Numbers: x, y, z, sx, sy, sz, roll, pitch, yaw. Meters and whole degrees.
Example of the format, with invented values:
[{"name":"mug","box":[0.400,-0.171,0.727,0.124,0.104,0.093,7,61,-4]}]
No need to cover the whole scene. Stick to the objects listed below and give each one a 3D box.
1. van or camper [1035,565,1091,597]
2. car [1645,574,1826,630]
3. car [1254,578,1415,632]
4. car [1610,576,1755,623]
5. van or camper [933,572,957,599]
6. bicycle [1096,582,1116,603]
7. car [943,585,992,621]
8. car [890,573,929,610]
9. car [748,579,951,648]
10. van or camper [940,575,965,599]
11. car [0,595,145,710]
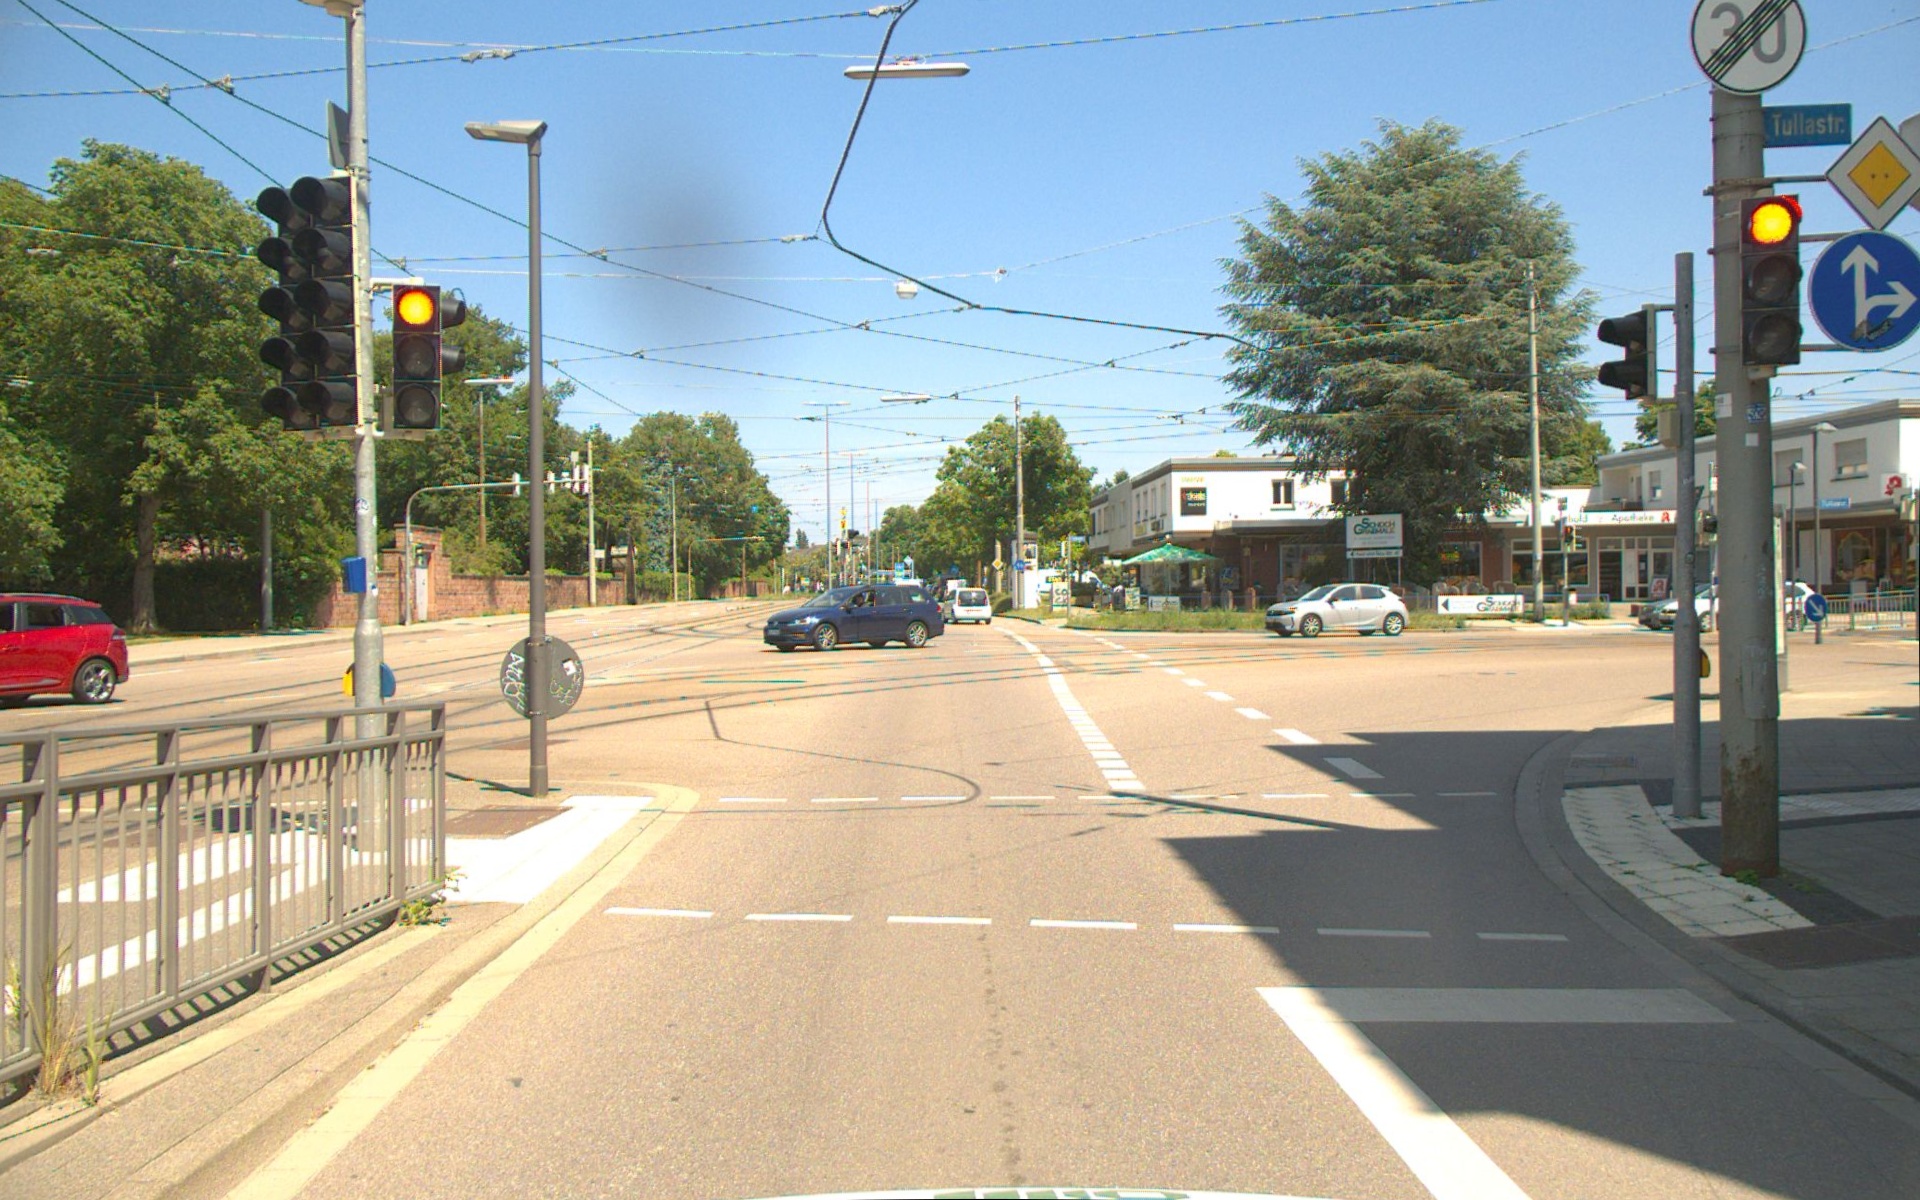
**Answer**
[{"name":"van or camper","box":[8.922,-1.648,143.537,4.662,2.717,2.134,-1,0,-3]},{"name":"car","box":[22.332,0.040,47.724,4.394,1.516,1.823,-1,0,-3]},{"name":"car","box":[10.319,0.115,45.603,3.974,1.386,1.815,-1,0,-17]},{"name":"car","box":[22.158,-0.022,50.812,3.752,1.375,1.641,-1,0,-3]},{"name":"van or camper","box":[-1.399,-1.347,152.823,1.954,2.507,3.997,-1,0,-4]},{"name":"bicycle","box":[7.478,-0.388,84.599,1.012,1.032,2.639,-1,1,5]},{"name":"car","box":[0.272,0.098,69.030,1.638,1.460,3.469,-1,0,-7]},{"name":"car","box":[-2.721,-0.479,88.299,1.954,1.892,3.998,0,1,-3]},{"name":"car","box":[-2.515,0.283,38.156,4.430,1.467,1.838,-1,1,-37]},{"name":"van or camper","box":[-0.581,-1.040,130.366,1.883,1.803,3.999,-1,0,-1]},{"name":"car","box":[-12.809,0.675,21.124,1.781,1.420,4.174,-1,1,23]}]
